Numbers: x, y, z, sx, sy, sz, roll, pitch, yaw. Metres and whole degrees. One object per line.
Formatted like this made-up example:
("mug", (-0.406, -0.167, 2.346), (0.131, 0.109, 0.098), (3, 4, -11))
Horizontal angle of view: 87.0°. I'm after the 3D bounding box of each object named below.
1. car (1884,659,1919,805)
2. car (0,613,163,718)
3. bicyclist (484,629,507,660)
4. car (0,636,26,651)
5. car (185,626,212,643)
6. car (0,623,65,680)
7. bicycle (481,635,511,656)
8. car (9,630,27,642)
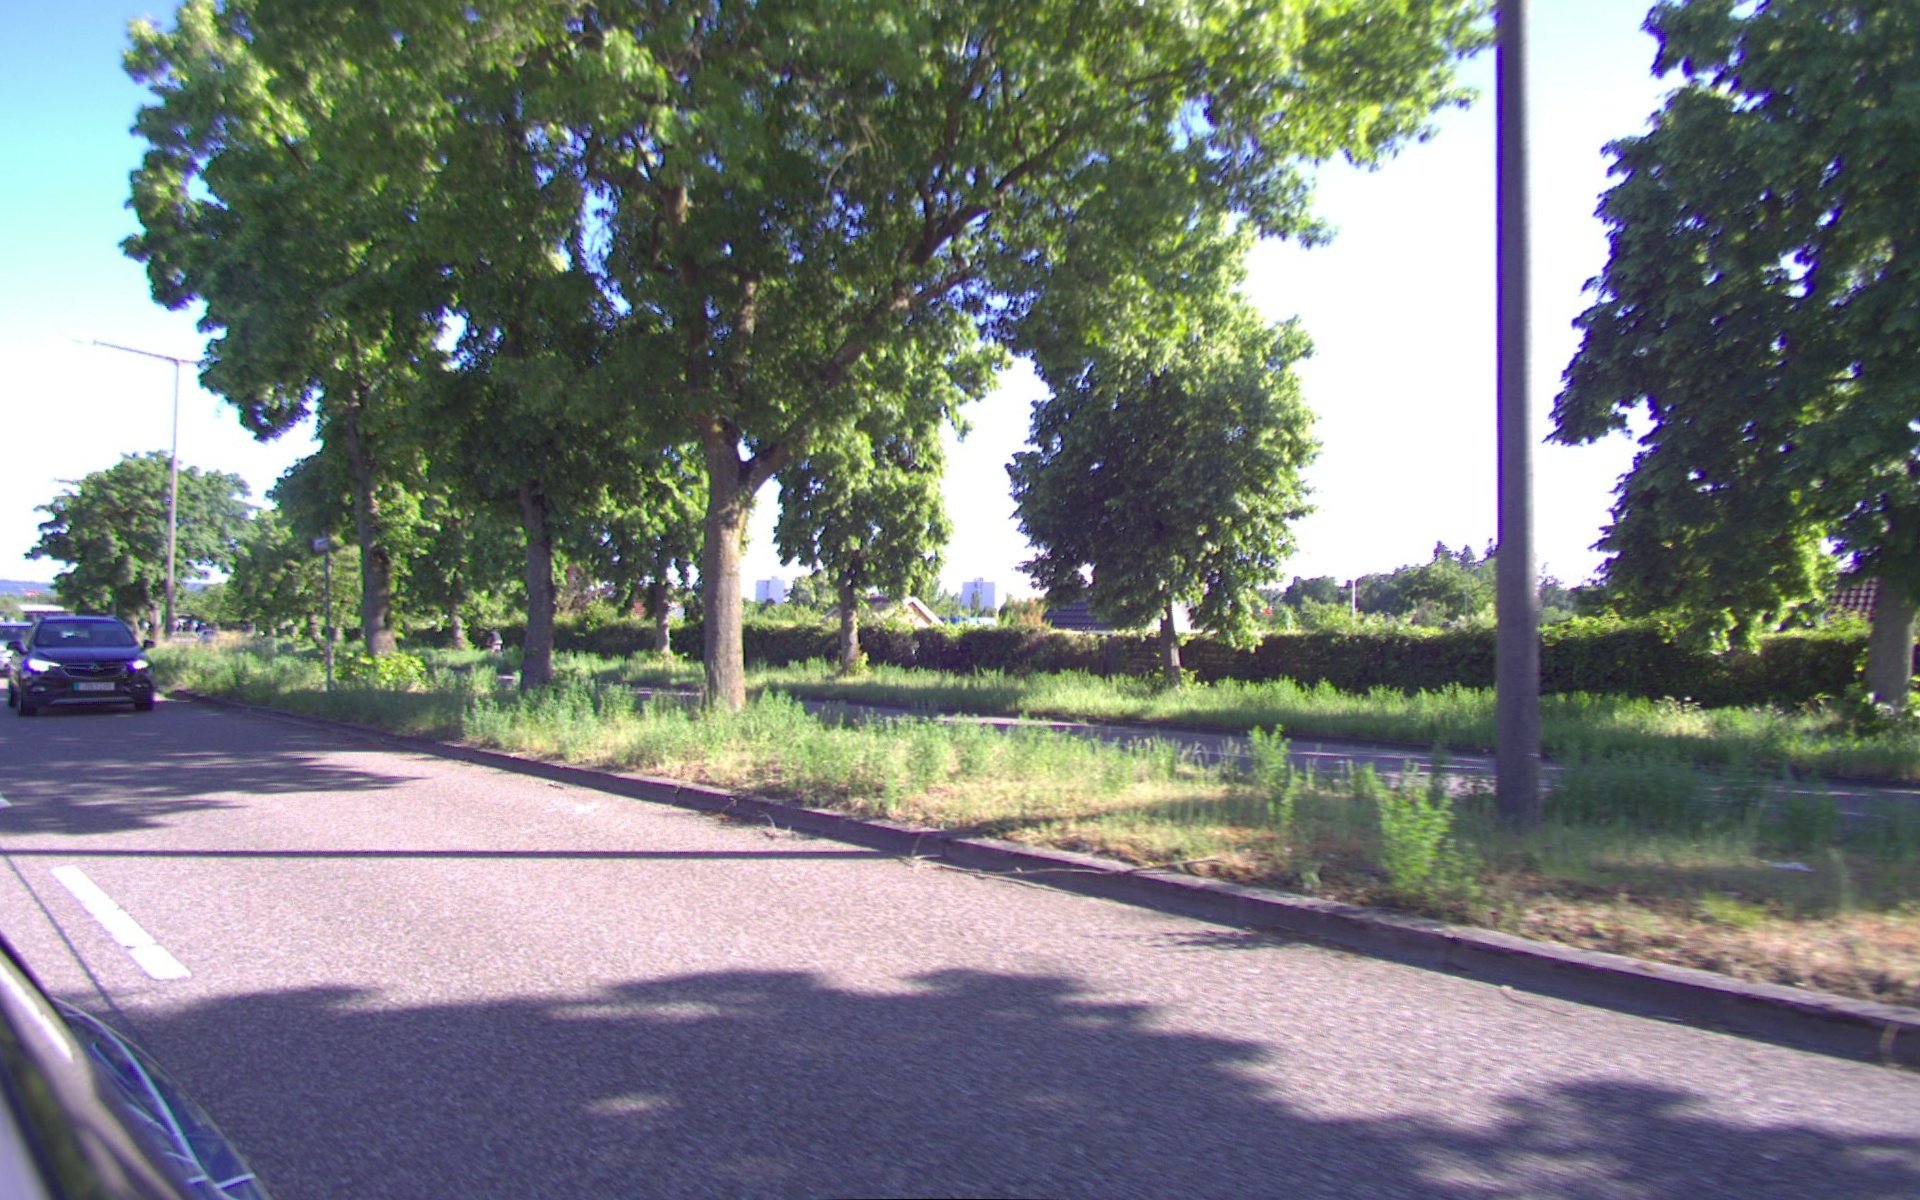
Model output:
("car", (11.864, 1.341, 9.261), (4.937, 1.447, 1.675), (-1, -5, 41))
("car", (-15.743, 1.062, 17.924), (4.513, 1.627, 1.787), (-1, -2, 42))
("bicyclist", (-22.279, 2.136, 48.555), (0.681, 1.432, 1.001), (3, -3, -45))
("car", (-109.486, 5.024, 116.972), (4.000, 1.697, 1.971), (-1, -3, 43))
("car", (-77.227, 3.471, 102.646), (1.914, 1.669, 4.006), (0, -1, -41))
("car", (-27.813, 1.485, 30.028), (1.797, 1.574, 4.652), (2, -2, -42))
("bicycle", (-22.228, 2.171, 48.483), (0.681, 1.004, 1.842), (3, -3, -45))
("car", (-167.420, 6.314, 179.853), (4.000, 2.097, 1.972), (-1, -1, 43))
